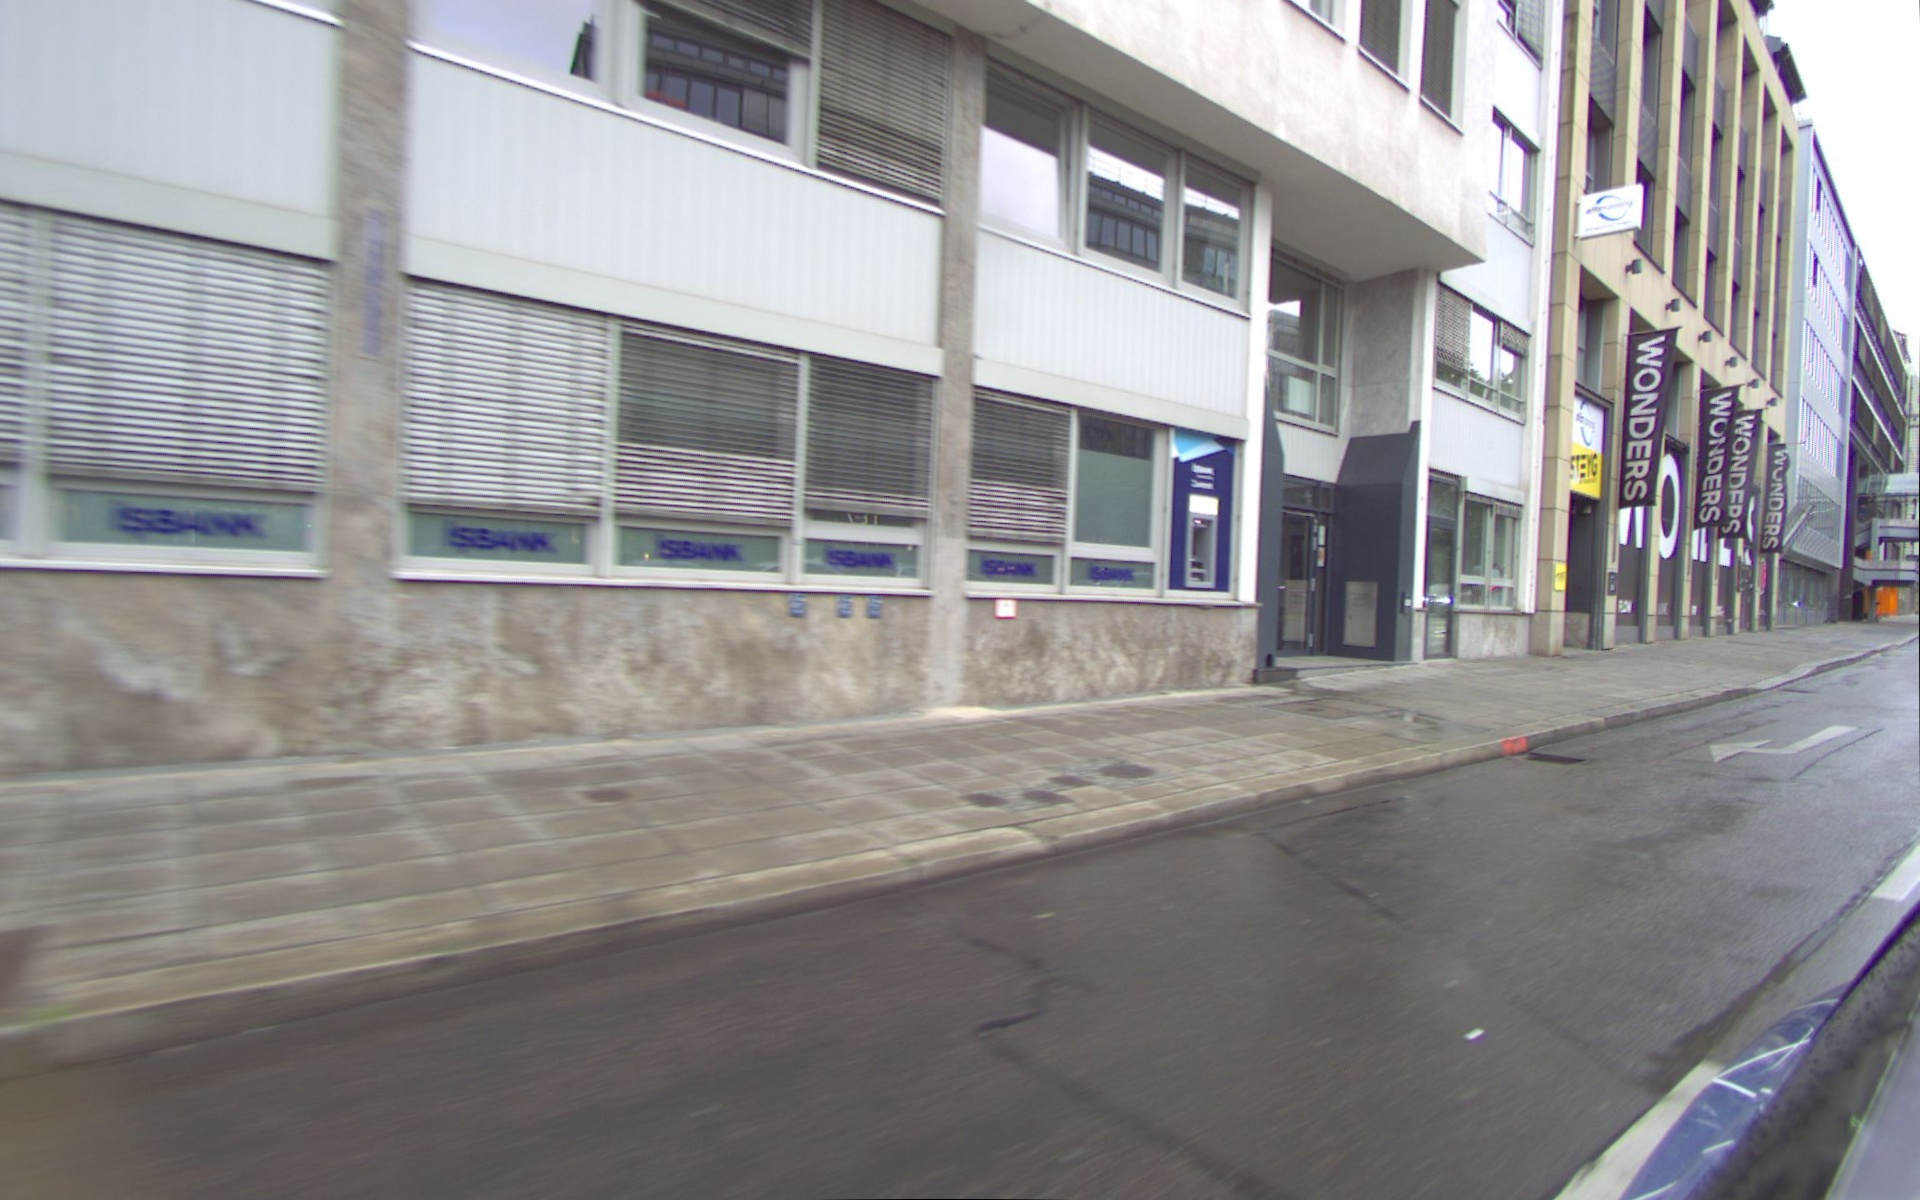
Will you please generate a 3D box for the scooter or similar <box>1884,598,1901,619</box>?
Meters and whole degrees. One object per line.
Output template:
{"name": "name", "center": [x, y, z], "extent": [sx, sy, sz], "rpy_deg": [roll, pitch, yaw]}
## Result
{"name": "scooter or similar", "center": [58.480, 0.552, 63.466], "extent": [0.468, 1.289, 1.294], "rpy_deg": [1, 0, 30]}
